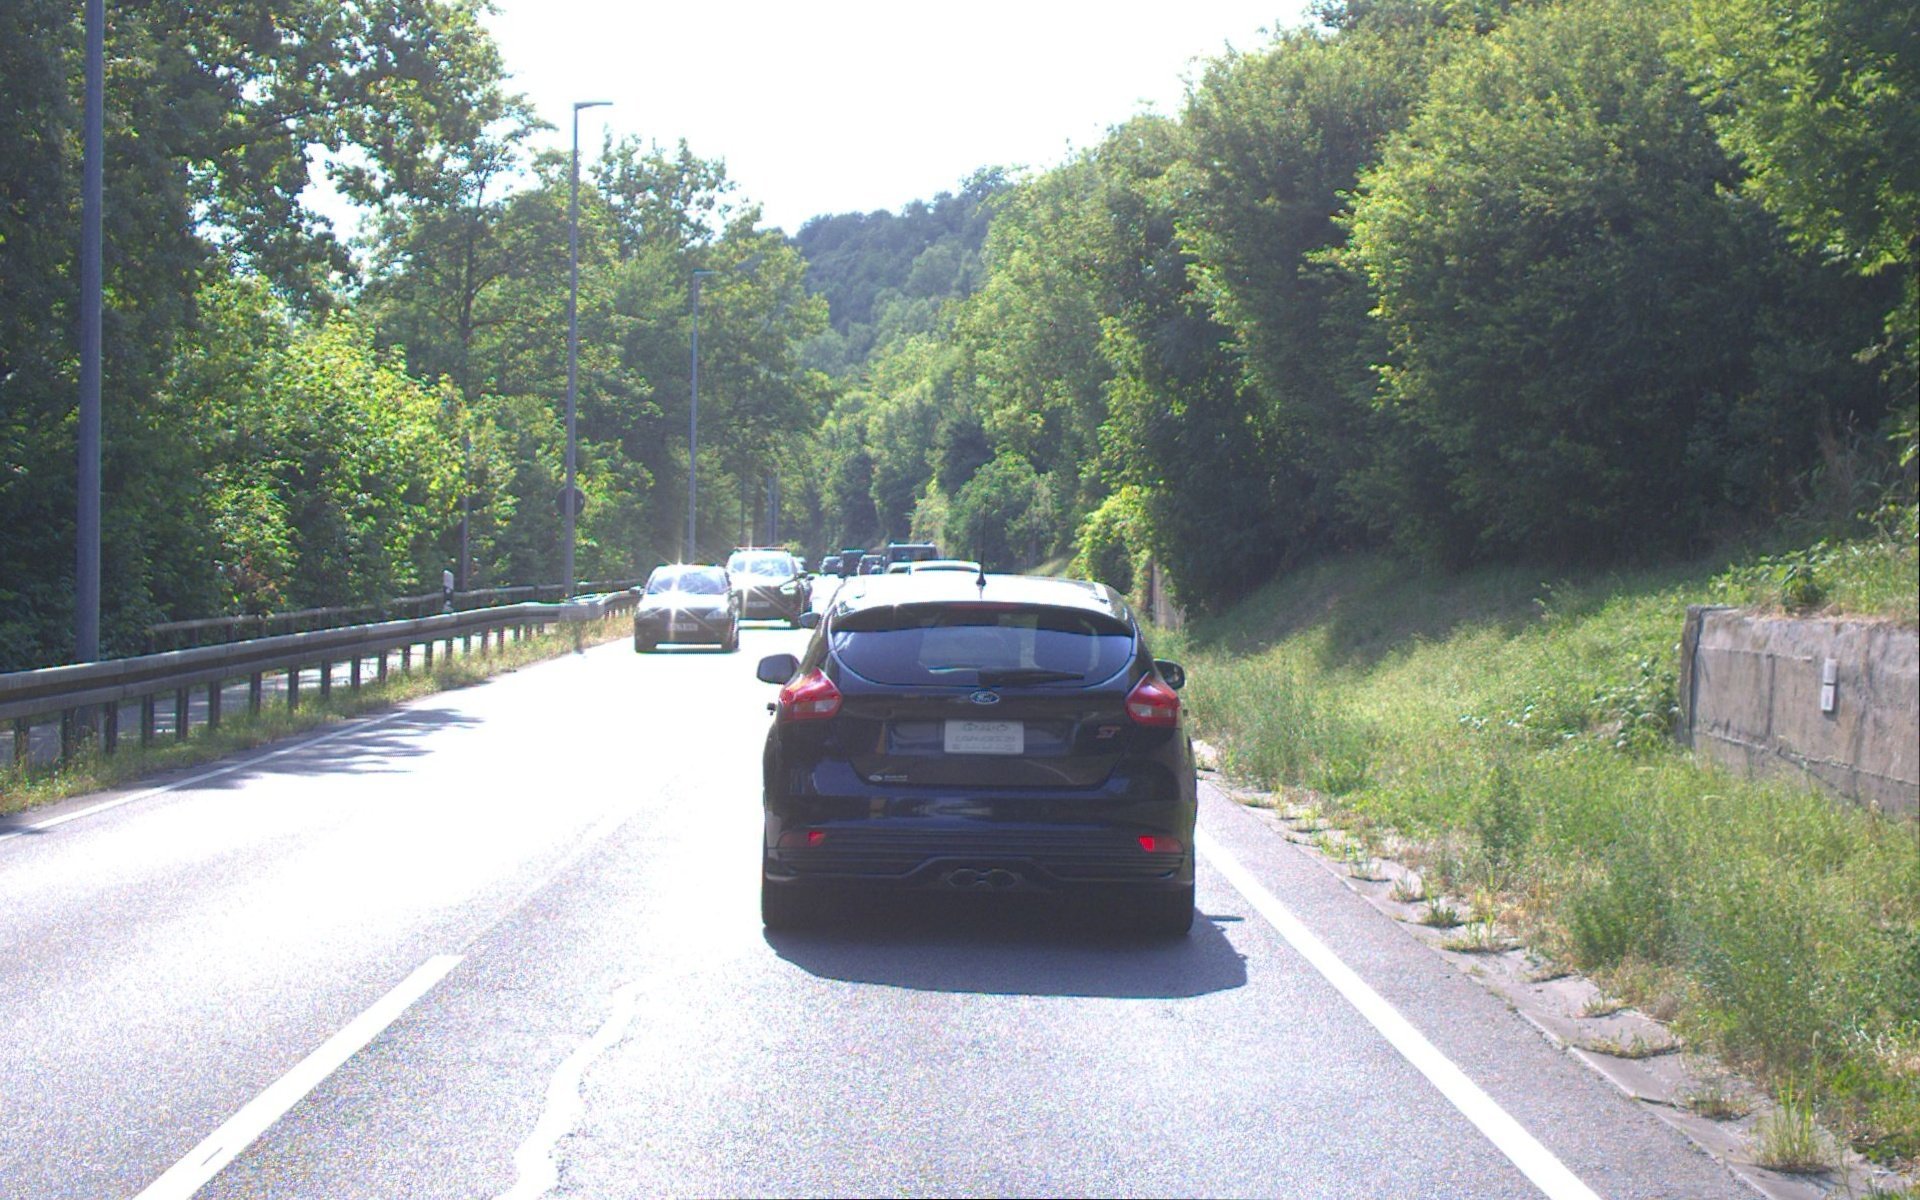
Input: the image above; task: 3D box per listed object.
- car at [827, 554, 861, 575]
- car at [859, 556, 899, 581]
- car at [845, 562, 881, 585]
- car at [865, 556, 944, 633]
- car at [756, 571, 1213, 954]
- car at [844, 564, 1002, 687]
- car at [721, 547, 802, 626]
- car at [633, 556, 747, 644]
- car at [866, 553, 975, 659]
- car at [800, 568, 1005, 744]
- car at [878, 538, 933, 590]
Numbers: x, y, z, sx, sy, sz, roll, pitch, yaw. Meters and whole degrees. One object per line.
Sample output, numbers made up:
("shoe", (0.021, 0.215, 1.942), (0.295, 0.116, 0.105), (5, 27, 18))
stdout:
("car", (-8.226, -2.537, 244.203), (1.993, 1.514, 4.001), (0, 1, -8))
("car", (-4.968, -1.916, 210.674), (1.993, 1.514, 4.001), (0, 1, -8))
("car", (-6.561, -1.810, 231.727), (1.993, 1.514, 4.001), (0, 1, -8))
("car", (-1.173, -0.137, 73.094), (1.631, 1.590, 4.000), (0, 1, -1))
("car", (0.076, 0.609, 15.256), (1.739, 1.451, 4.000), (1, 0, -1))
("car", (-0.441, 0.270, 41.236), (1.804, 1.387, 4.000), (0, 1, -1))
("car", (-4.411, -0.317, 76.832), (1.748, 1.712, 4.222), (0, 1, -2))
("car", (-4.615, -0.031, 59.145), (1.681, 1.437, 4.000), (0, 1, 0))
("car", (-0.617, 0.063, 53.627), (1.631, 1.590, 4.000), (0, 1, -1))
("car", (-0.440, 0.439, 29.993), (1.661, 1.413, 4.000), (0, 1, 1))
("car", (-1.883, -1.252, 118.535), (1.863, 1.774, 4.000), (0, 1, -1))
